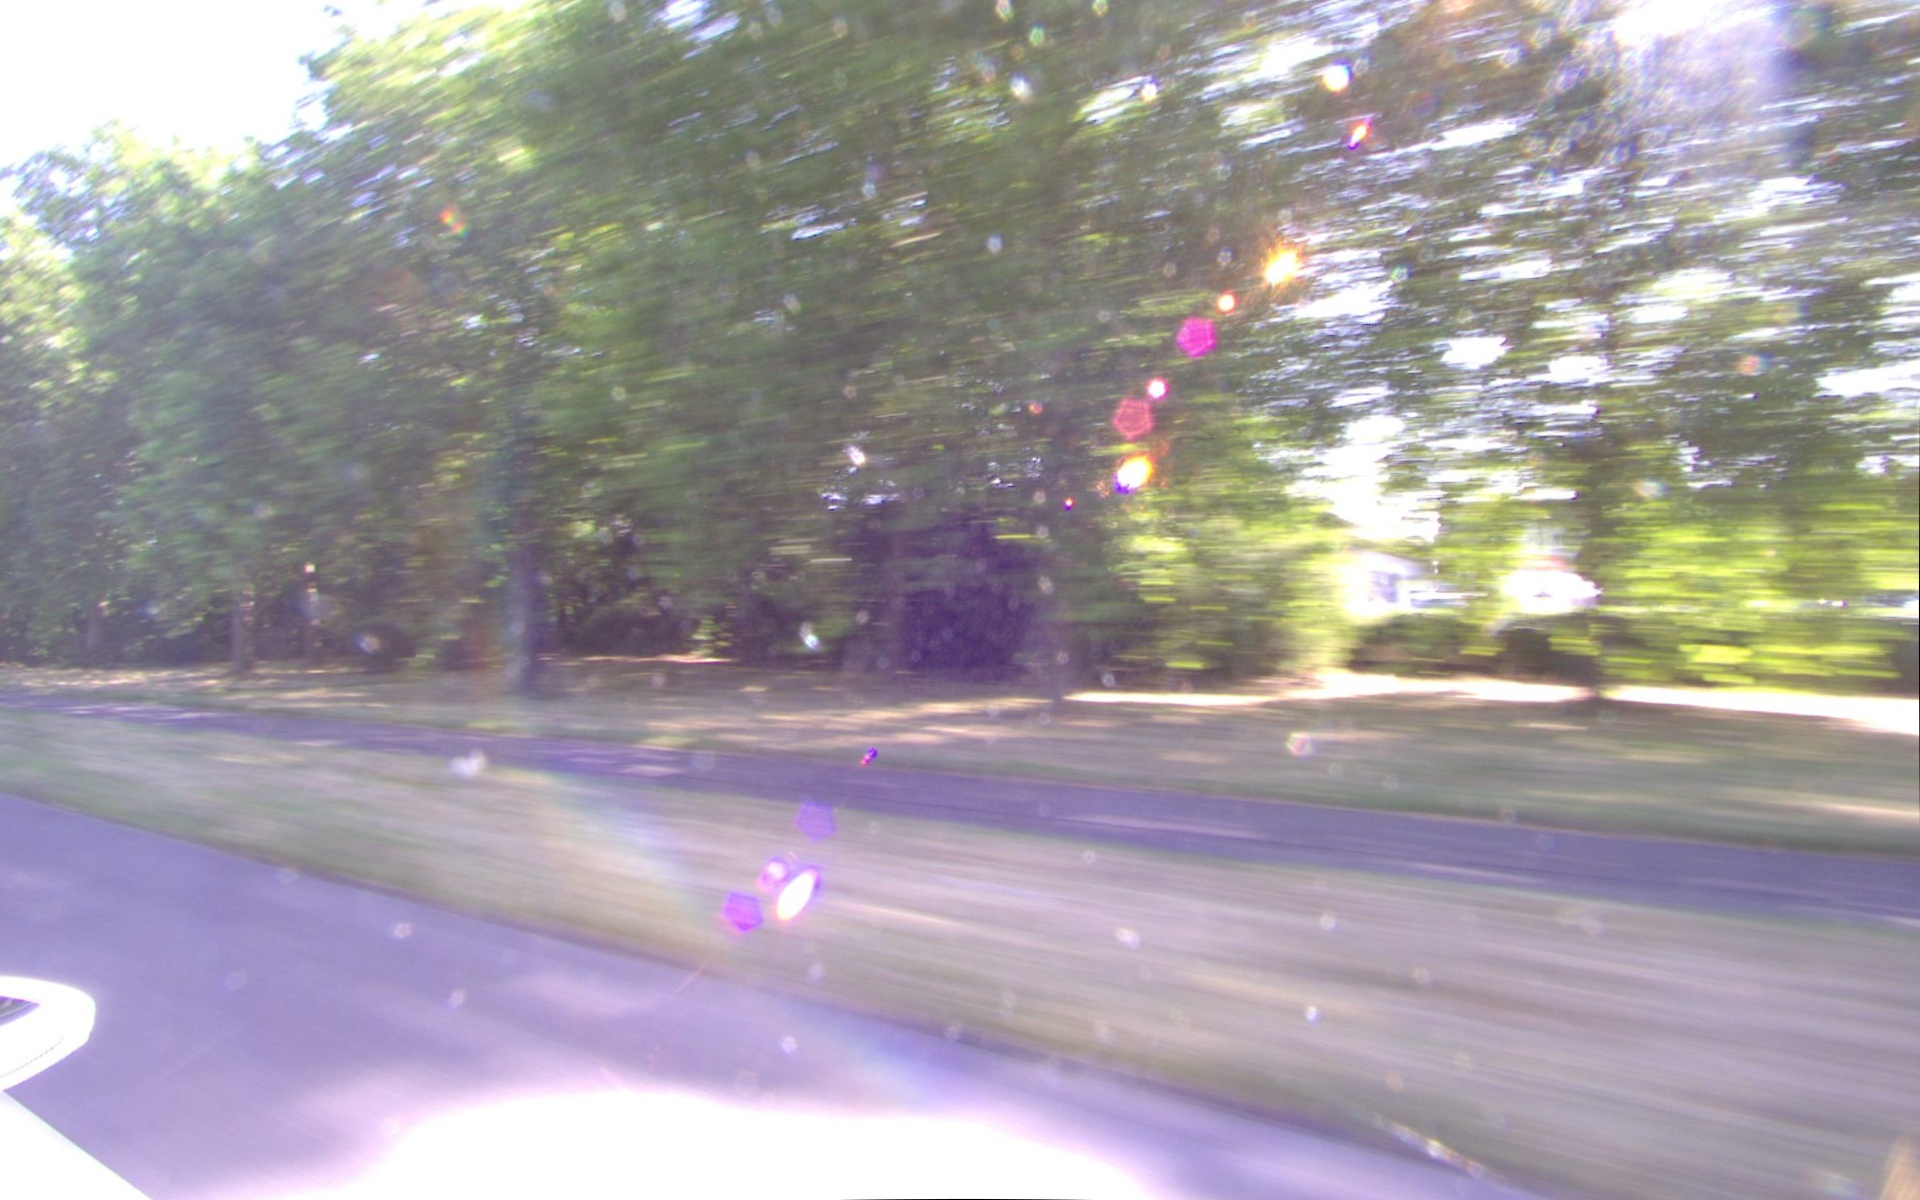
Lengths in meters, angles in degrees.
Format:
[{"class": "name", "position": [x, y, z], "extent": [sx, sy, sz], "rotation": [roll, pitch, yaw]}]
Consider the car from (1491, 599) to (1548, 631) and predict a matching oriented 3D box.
[{"class": "car", "position": [32.639, 0.840, 58.339], "extent": [1.966, 1.773, 4.469], "rotation": [-1, -1, 42]}]

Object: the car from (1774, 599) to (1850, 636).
[{"class": "car", "position": [43.012, 0.847, 50.504], "extent": [4.452, 1.773, 1.973], "rotation": [0, 0, -37]}]
